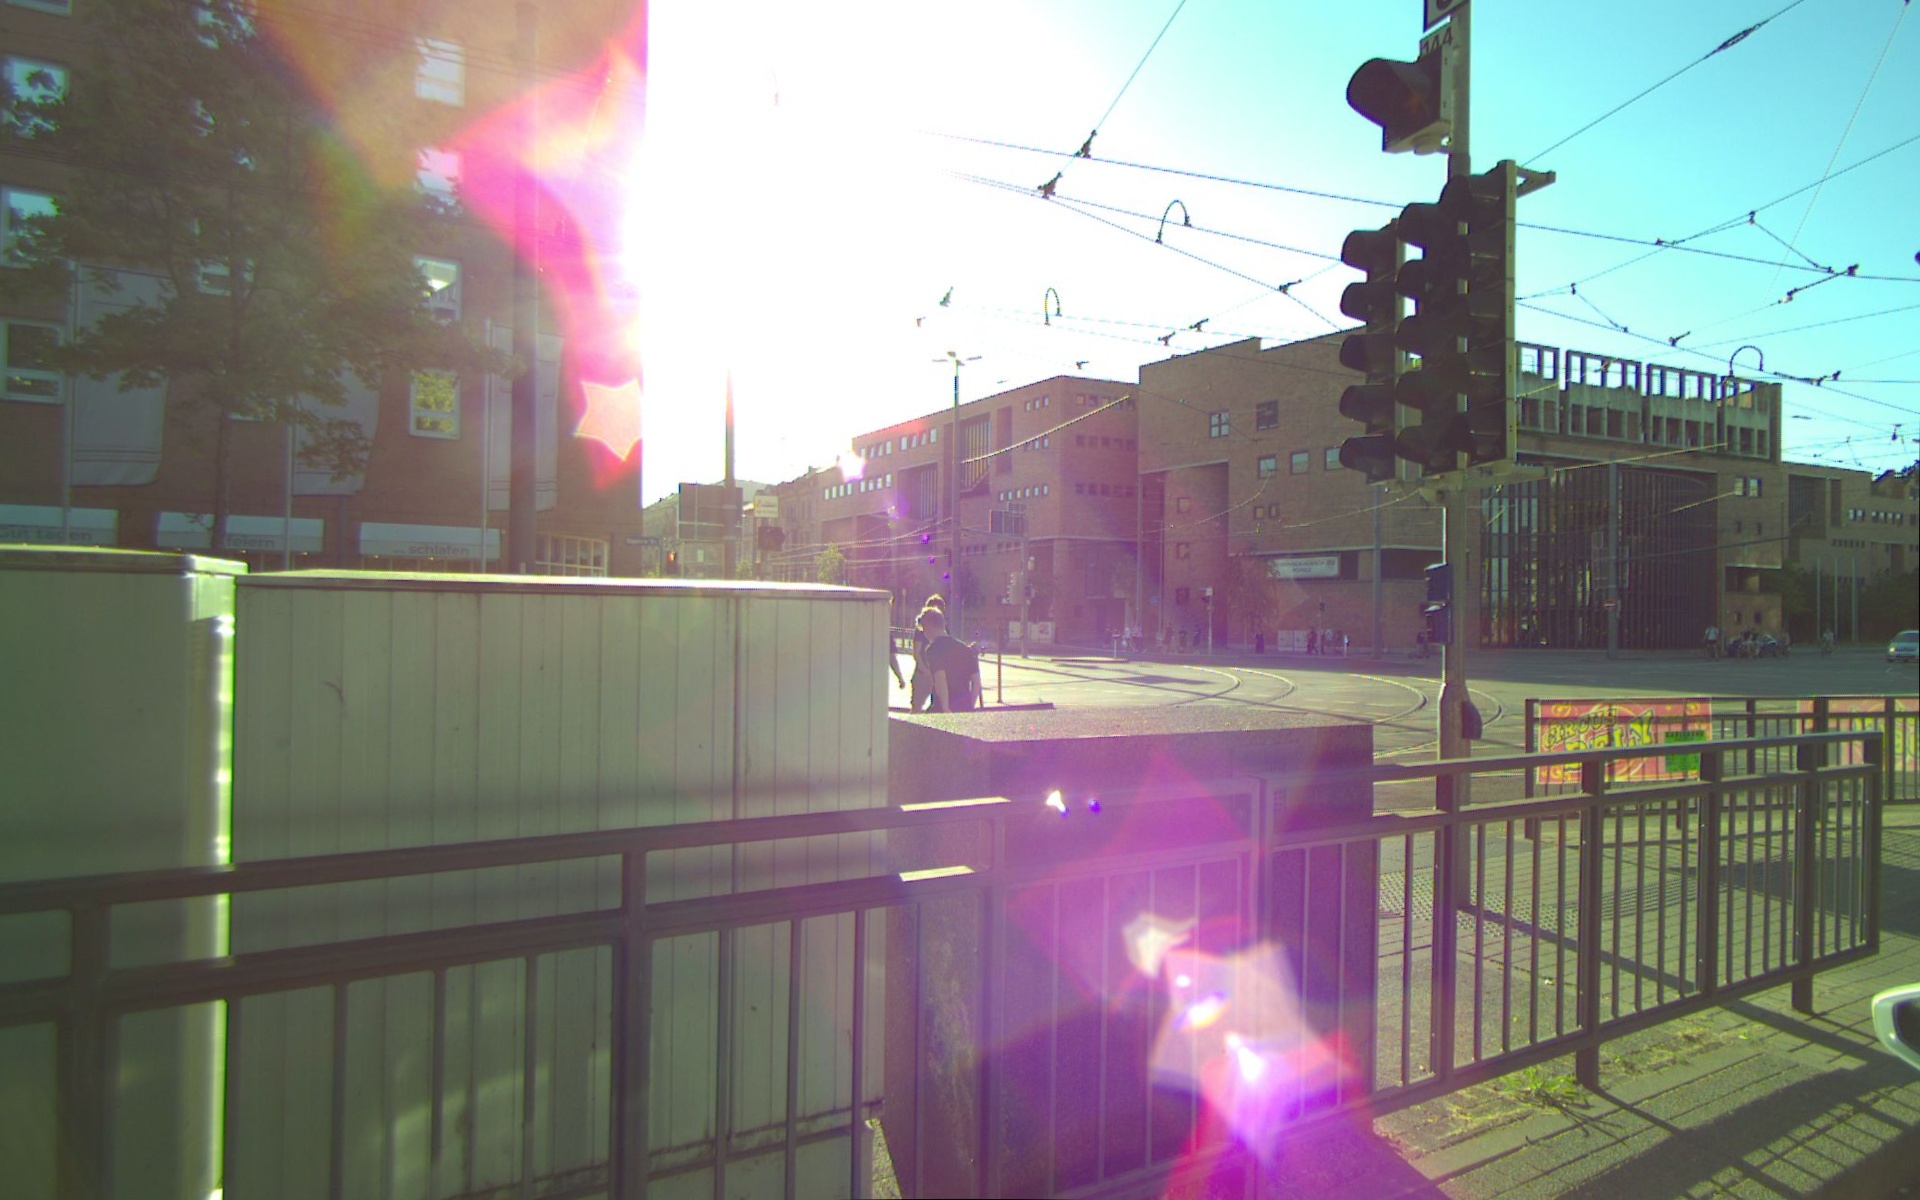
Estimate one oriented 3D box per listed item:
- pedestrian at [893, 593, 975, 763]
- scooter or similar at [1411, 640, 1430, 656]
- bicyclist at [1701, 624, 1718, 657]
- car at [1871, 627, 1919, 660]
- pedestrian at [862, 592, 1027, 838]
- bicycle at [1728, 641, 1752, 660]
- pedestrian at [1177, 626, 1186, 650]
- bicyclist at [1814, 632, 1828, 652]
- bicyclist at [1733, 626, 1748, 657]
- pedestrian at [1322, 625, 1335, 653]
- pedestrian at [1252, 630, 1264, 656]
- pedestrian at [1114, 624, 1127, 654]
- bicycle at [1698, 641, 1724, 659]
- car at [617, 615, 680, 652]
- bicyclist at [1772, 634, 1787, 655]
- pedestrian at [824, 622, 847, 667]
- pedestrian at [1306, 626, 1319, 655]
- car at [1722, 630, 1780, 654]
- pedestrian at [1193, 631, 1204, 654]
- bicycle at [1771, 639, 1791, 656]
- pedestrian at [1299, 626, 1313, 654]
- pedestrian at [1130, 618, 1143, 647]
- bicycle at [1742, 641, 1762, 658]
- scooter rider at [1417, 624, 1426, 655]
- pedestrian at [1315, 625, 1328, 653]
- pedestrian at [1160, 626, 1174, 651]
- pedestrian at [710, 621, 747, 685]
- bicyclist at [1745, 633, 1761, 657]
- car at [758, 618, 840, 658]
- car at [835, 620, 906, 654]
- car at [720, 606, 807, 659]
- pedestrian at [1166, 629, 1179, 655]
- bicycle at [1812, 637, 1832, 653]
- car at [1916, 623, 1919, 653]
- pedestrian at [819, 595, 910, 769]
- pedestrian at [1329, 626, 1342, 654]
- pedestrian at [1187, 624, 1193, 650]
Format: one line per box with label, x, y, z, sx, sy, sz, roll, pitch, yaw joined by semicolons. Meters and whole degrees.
pedestrian;-0.309;0.871;11.578;0.647;1.864;0.835;1;-1;-28
scooter or similar;25.378;2.642;55.374;0.931;0.911;0.176;0;-1;14
bicyclist;40.386;2.185;54.131;0.574;1.754;0.534;1;-1;-30
car;48.983;2.227;51.781;3.954;1.661;1.983;1;-2;-31
pedestrian;-0.128;0.852;7.890;1.076;1.771;0.739;-2;-3;40
bicycle;41.598;2.682;53.584;1.557;0.976;0.470;1;-1;-30
pedestrian;13.815;2.393;62.632;0.523;1.482;0.591;0;-1;14
bicyclist;53.566;2.604;62.461;0.574;1.226;0.503;1;-1;-30
bicyclist;41.635;2.225;53.600;0.574;1.624;0.456;1;-1;-30
pedestrian;23.048;2.447;62.895;0.498;1.706;0.588;1;-1;-38
pedestrian;17.719;2.577;59.805;0.484;1.526;0.547;-1;-2;44
pedestrian;8.916;2.164;55.781;0.539;1.670;0.600;0;-1;26
bicycle;40.506;2.687;54.183;1.568;0.976;0.539;1;-1;-30
car;-18.839;2.004;60.595;1.982;2.122;5.156;1;-2;-38
bicyclist;47.786;2.584;58.545;0.574;1.194;0.503;1;-1;-30
pedestrian;-4.750;1.696;38.359;0.658;1.669;0.638;1;-1;-34
pedestrian;21.413;2.450;61.014;0.585;1.706;0.546;1;-1;-32
car;50.246;2.678;63.788;3.954;1.455;1.658;1;-2;-31
pedestrian;14.811;2.624;62.301;0.549;1.445;0.556;0;-1;-1
bicycle;47.952;2.752;58.653;1.332;0.976;0.449;1;-1;-30
pedestrian;21.453;2.453;62.262;0.645;1.706;0.615;1;-1;-38
pedestrian;9.886;1.807;56.120;0.578;1.635;0.597;0;-1;25
bicycle;45.334;2.839;57.514;1.304;0.976;0.465;1;-1;-30
scooter rider;25.434;2.166;55.396;0.429;1.669;0.229;0;-1;15
pedestrian;22.409;2.423;62.222;0.569;1.706;0.543;1;-1;-38
pedestrian;11.425;2.109;55.409;0.668;1.357;0.604;0;-1;0
pedestrian;-6.176;1.389;26.795;0.709;1.669;0.953;1;-1;-30
bicyclist;45.422;2.576;57.535;0.574;1.321;0.503;1;-1;-30
car;-8.342;1.912;51.702;1.982;1.928;5.156;1;-2;-38
car;-4.687;1.899;52.366;1.980;1.572;3.961;2;0;-35
car;-9.457;1.522;47.955;1.982;2.419;5.156;1;-2;-38
pedestrian;11.897;2.343;56.326;0.602;1.473;0.570;0;-1;-1
bicycle;53.693;2.819;62.568;1.469;0.976;0.489;1;-1;-30
car;55.252;2.114;55.894;3.954;1.661;1.983;1;-2;-31
pedestrian;-1.075;0.882;11.215;0.713;1.837;0.904;1;-1;-28
pedestrian;23.018;2.457;61.609;0.543;1.706;0.568;1;-1;-38
pedestrian;14.322;2.302;62.533;0.393;1.635;0.413;0;-1;11
